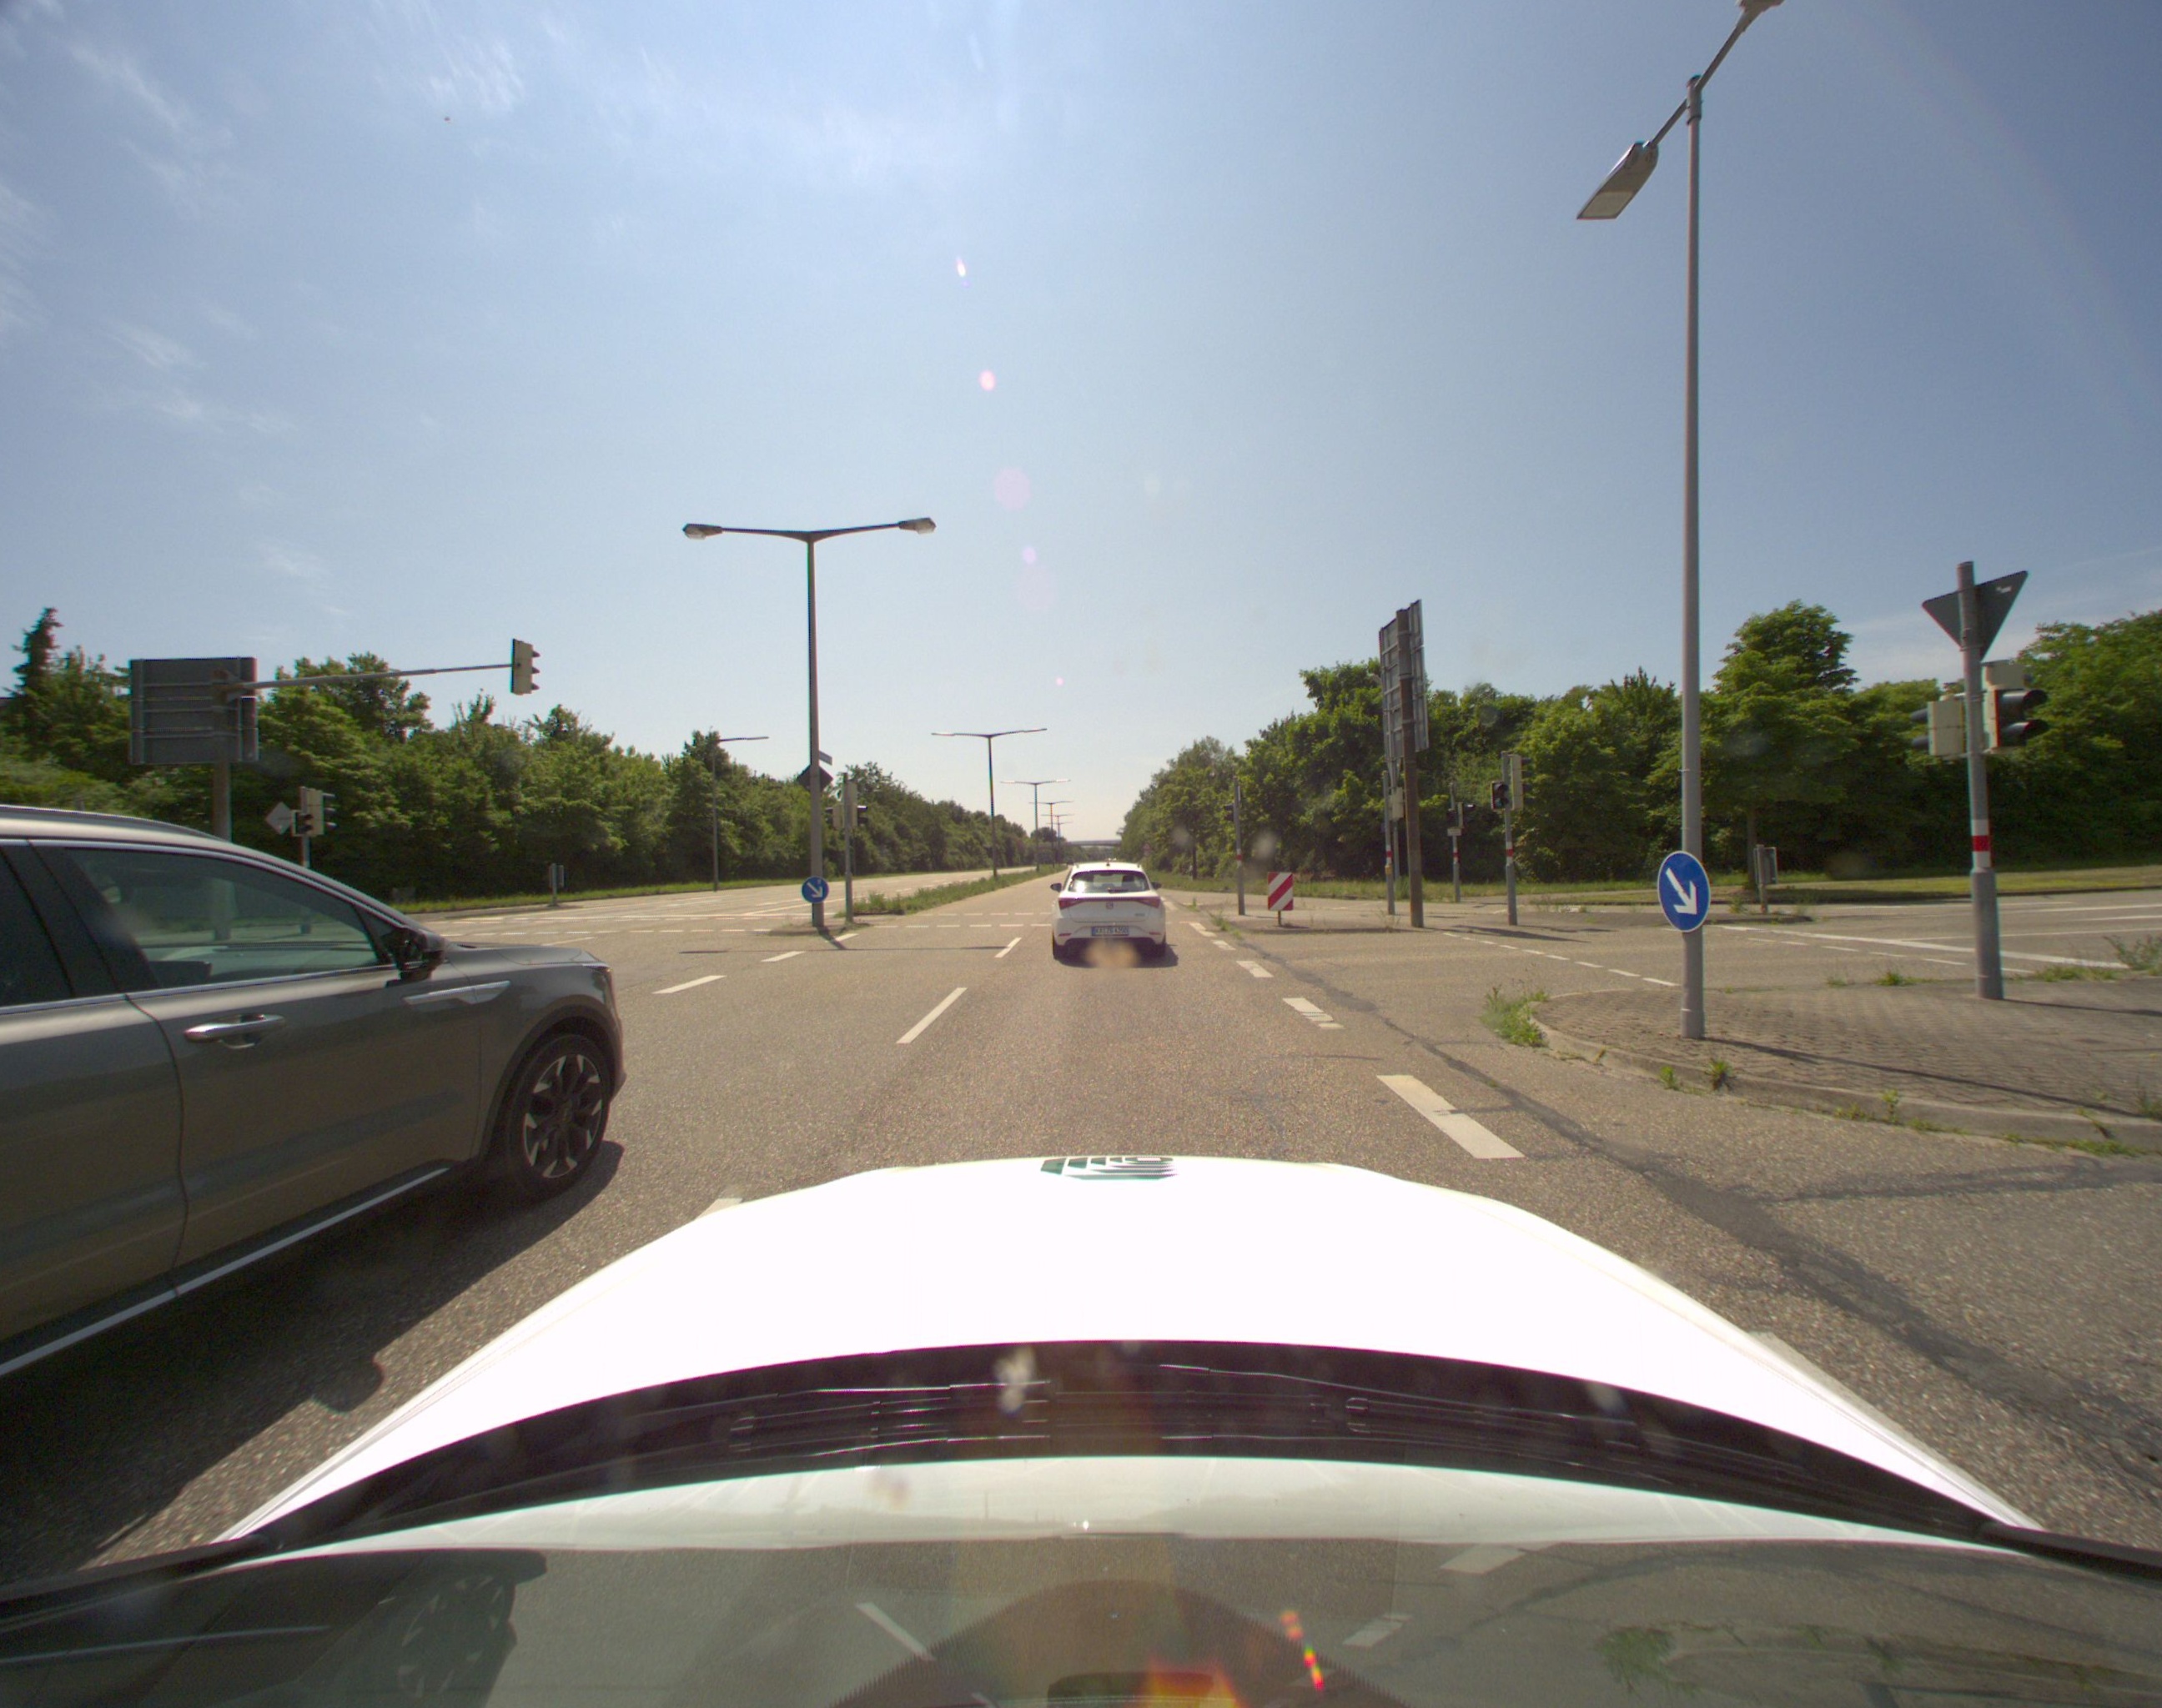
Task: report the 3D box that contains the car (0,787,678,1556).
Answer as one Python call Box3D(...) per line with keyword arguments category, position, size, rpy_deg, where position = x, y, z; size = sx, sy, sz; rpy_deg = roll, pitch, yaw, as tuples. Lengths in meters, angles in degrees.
Box3D(category="car", position=(-3.233, 0.709, 2.202), size=(1.797, 1.662, 4.646), rpy_deg=(-1, -1, 2))

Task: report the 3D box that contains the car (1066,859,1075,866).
Box3D(category="car", position=(-2.818, 2.241, 221.235), size=(1.846, 1.709, 4.004), rpy_deg=(-3, 0, 4))

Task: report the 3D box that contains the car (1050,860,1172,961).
Box3D(category="car", position=(0.495, 0.825, 13.405), size=(1.727, 1.428, 3.696), rpy_deg=(0, -1, 2))
